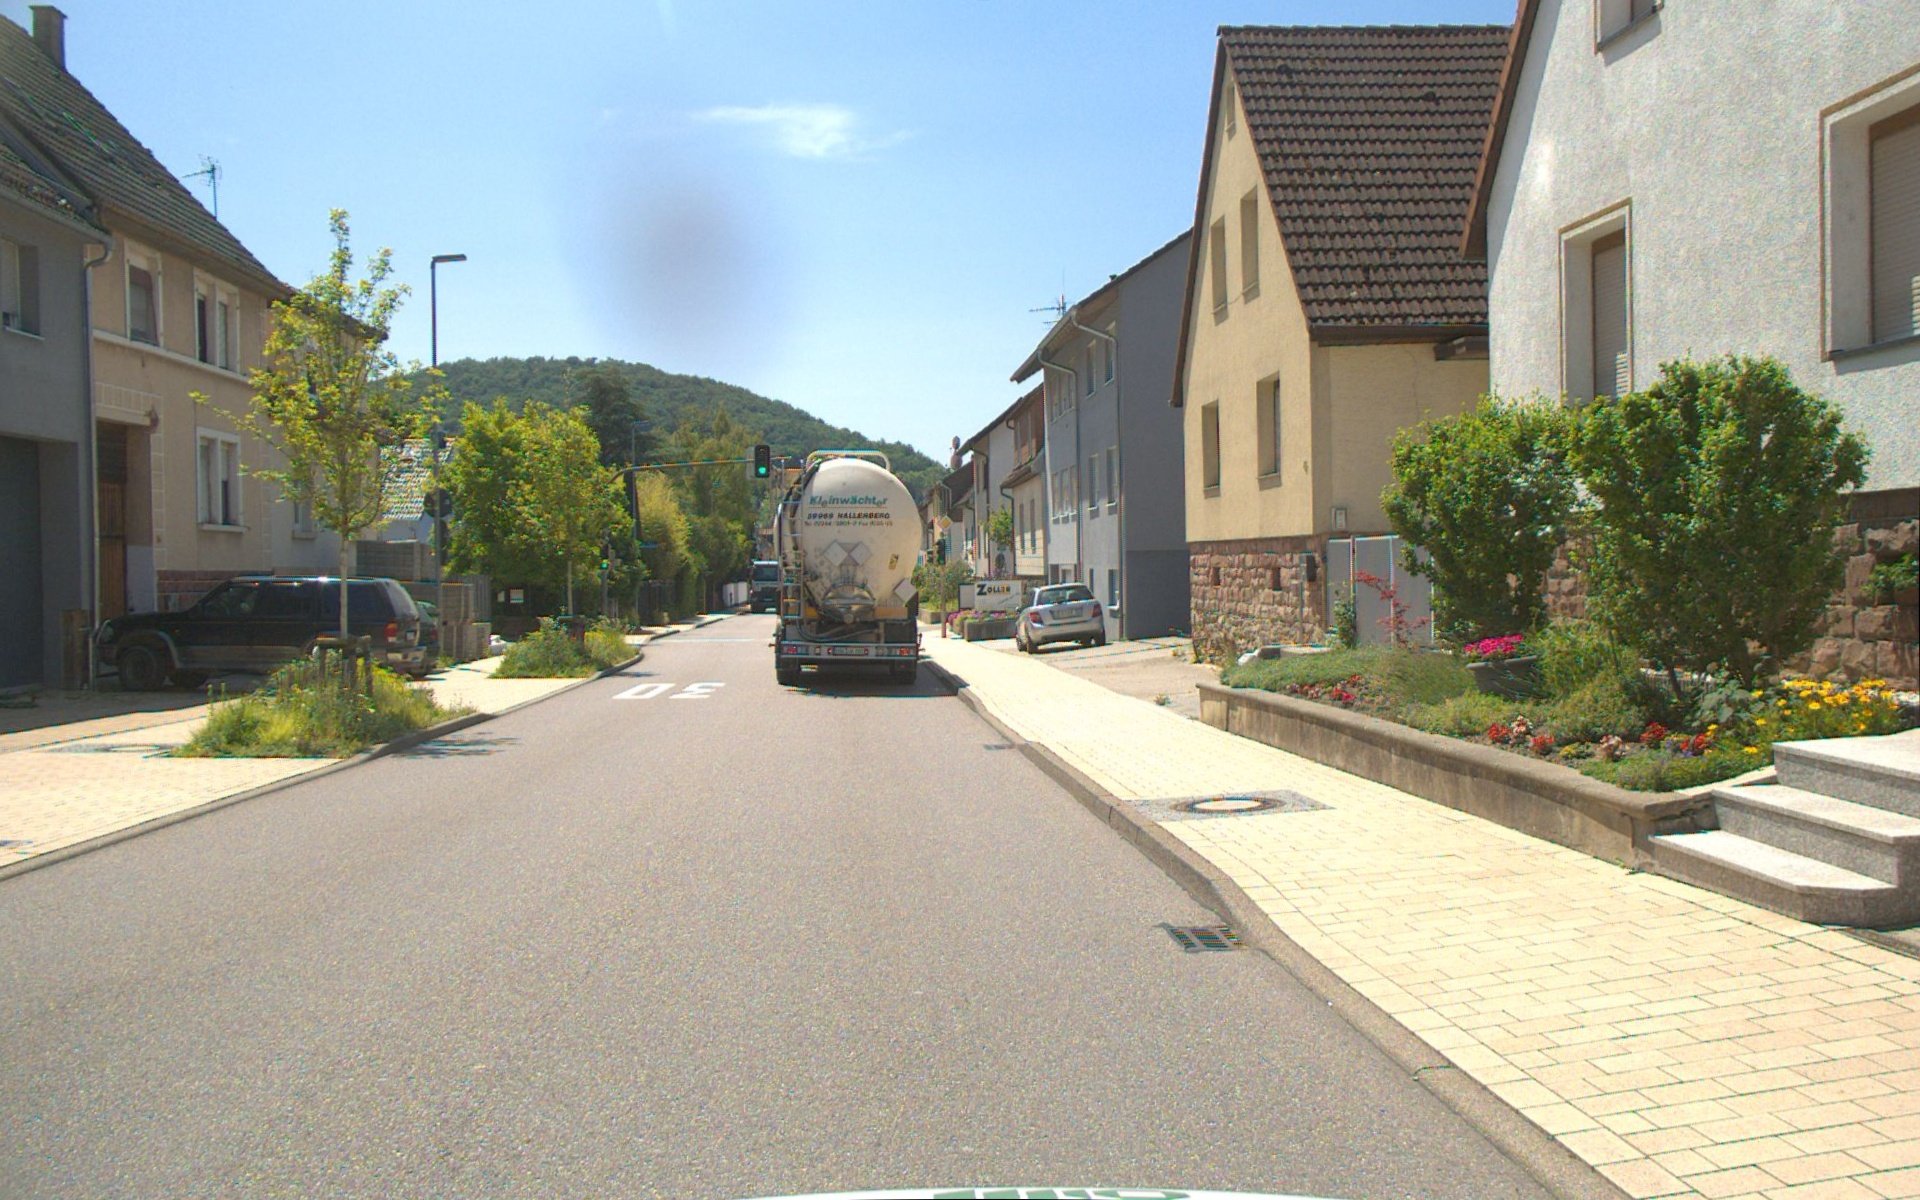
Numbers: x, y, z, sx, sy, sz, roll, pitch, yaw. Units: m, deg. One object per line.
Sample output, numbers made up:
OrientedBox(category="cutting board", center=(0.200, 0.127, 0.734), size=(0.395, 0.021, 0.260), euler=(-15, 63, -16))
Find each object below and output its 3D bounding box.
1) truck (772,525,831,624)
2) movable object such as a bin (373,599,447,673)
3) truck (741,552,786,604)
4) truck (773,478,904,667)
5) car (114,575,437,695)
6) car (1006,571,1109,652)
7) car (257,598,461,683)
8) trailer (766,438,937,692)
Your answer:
OrientedBox(category="truck", center=(-8.264, -1.184, 86.618), size=(2.791, 4.761, 11.325), euler=(1, -1, -5))
OrientedBox(category="movable object such as a bin", center=(-10.646, 0.686, 32.059), size=(0.969, 1.342, 1.404), euler=(0, 2, 0))
OrientedBox(category="truck", center=(-13.490, -1.456, 113.863), size=(2.675, 3.430, 8.627), euler=(0, 0, -4))
OrientedBox(category="truck", center=(-2.887, -0.596, 38.314), size=(2.754, 4.006, 6.091), euler=(0, 0, -6))
OrientedBox(category="car", center=(-10.669, 0.524, 26.045), size=(4.309, 1.781, 1.876), euler=(0, 0, -5))
OrientedBox(category="car", center=(2.152, 0.233, 37.540), size=(1.756, 1.567, 4.517), euler=(-5, 0, -2))
OrientedBox(category="car", center=(-10.983, 0.709, 30.205), size=(3.474, 1.464, 1.695), euler=(-1, 0, 30))
OrientedBox(category="trailer", center=(-2.243, -0.582, 31.730), size=(2.742, 4.071, 10.311), euler=(0, 0, -6))
